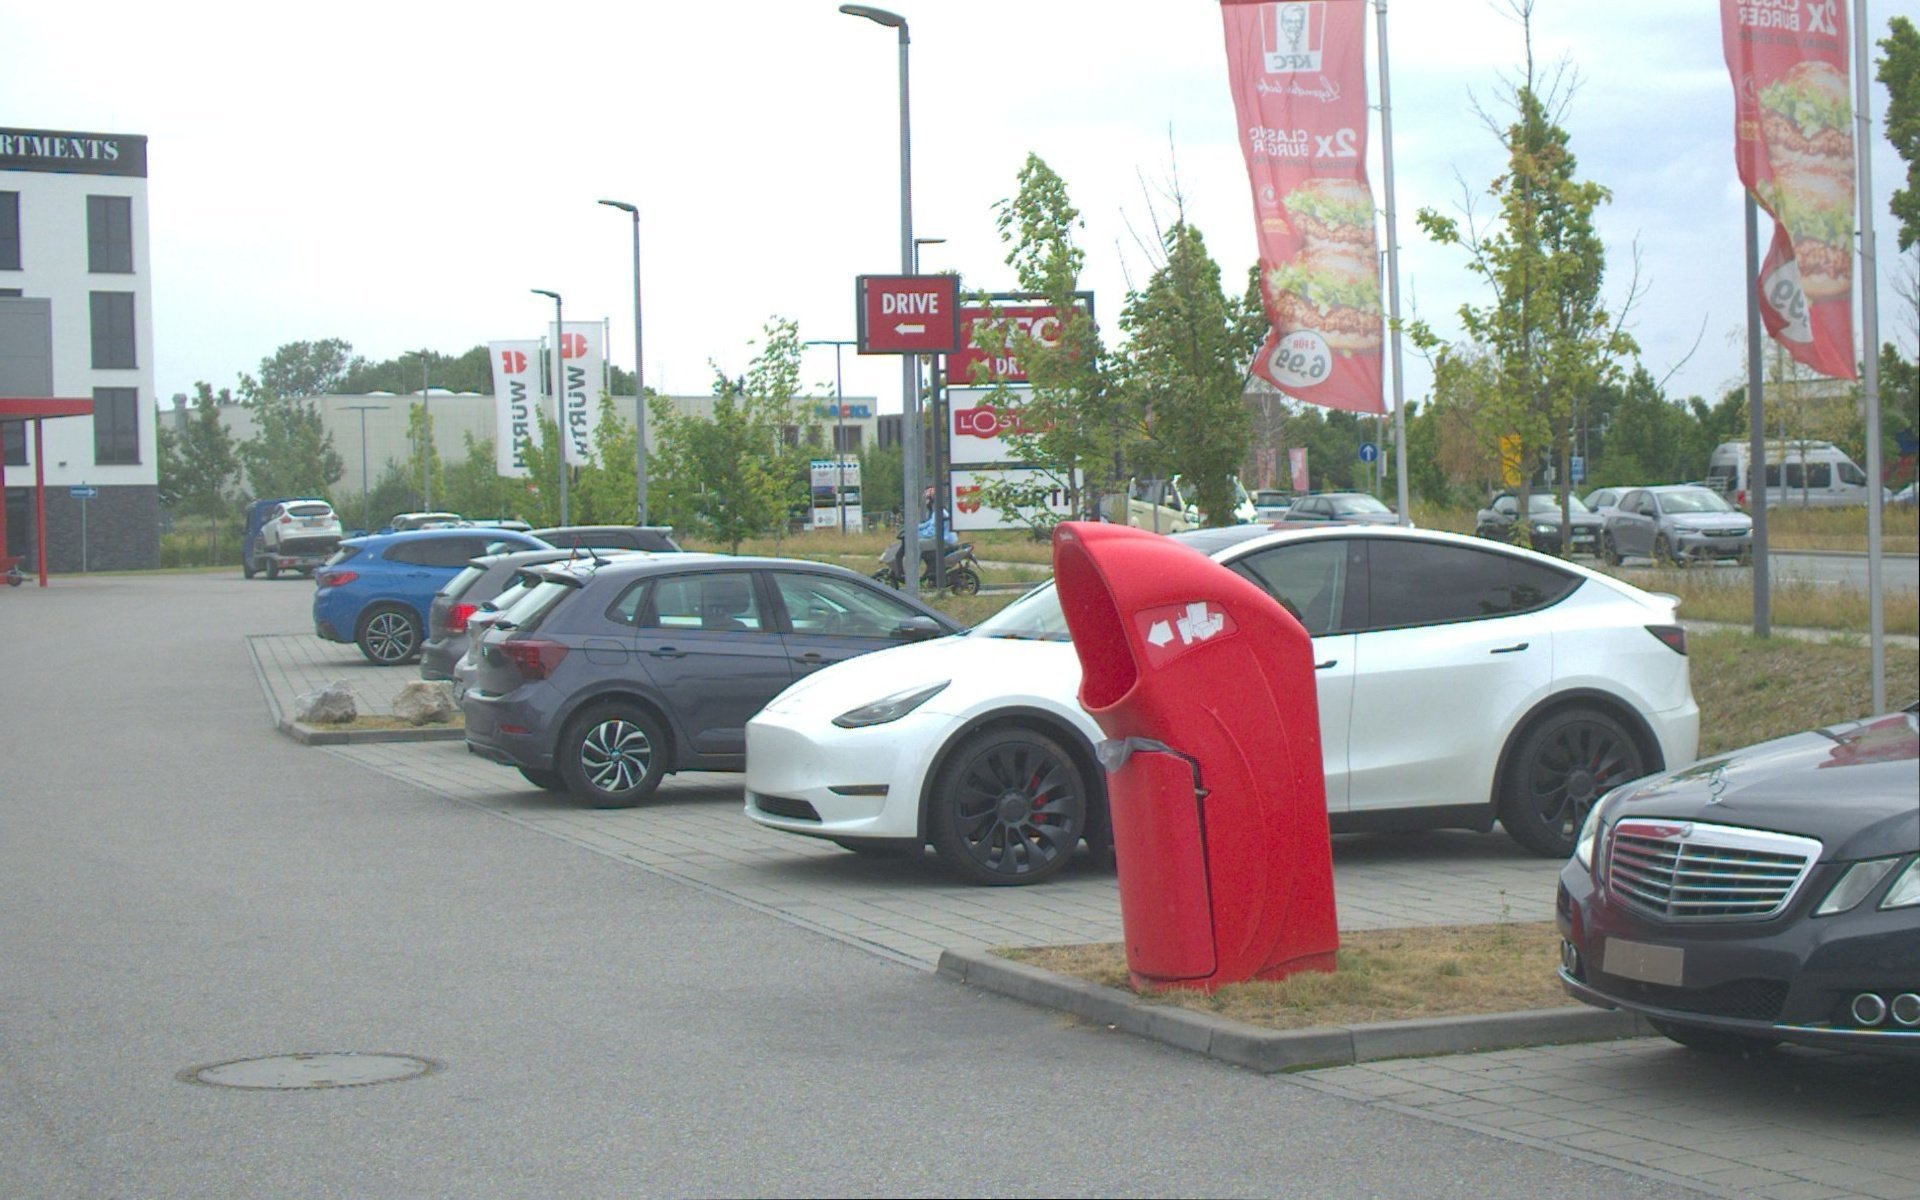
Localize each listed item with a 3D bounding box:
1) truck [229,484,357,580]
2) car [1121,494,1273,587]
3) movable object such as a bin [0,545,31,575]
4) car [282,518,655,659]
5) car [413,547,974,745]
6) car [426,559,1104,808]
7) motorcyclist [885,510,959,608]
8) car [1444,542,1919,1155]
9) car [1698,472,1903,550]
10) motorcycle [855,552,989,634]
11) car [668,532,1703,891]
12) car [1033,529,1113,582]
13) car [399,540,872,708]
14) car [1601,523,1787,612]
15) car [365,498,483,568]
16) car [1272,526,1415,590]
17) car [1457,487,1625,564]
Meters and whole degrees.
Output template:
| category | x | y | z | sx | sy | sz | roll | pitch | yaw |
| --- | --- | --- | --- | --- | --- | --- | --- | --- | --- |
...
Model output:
| category | x | y | z | sx | sy | sz | roll | pitch | yaw |
| --- | --- | --- | --- | --- | --- | --- | --- | --- | --- |
| truck | -19.122 | -1.888 | 98.248 | 2.331 | 2.398 | 7.898 | 0 | -1 | -20 |
| car | 5.561 | -1.442 | 81.340 | 1.993 | 2.079 | 5.232 | -2 | 2 | -14 |
| movable object such as a bin | -22.938 | -0.952 | 81.584 | 1.488 | 0.701 | 0.965 | -1 | 1 | -35 |
| car | -5.756 | -0.162 | 40.075 | 4.201 | 1.539 | 1.865 | -1 | 1 | -11 |
| car | -2.046 | 0.332 | 26.009 | 3.925 | 1.407 | 1.840 | 1 | 1 | -16 |
| car | -1.214 | 0.482 | 20.991 | 3.794 | 1.407 | 1.739 | 0 | 1 | -18 |
| motorcyclist | -0.596 | -0.644 | 53.371 | 0.938 | 1.483 | 0.831 | -2 | 1 | -15 |
| car | 3.901 | 0.600 | 10.075 | 4.726 | 1.451 | 1.912 | 0 | 0 | -29 |
| car | 25.788 | -2.736 | 105.564 | 5.577 | 2.114 | 2.341 | -3 | 2 | -11 |
| motorcycle | -0.594 | -0.118 | 53.385 | 1.915 | 1.204 | 0.795 | -2 | 1 | -15 |
| car | 1.066 | 0.476 | 16.435 | 4.530 | 1.536 | 1.926 | 0 | 1 | -21 |
| car | 2.980 | -1.185 | 91.237 | 1.461 | 1.332 | 3.164 | -1 | 2 | -10 |
| car | -2.920 | 0.195 | 30.626 | 3.986 | 1.423 | 1.728 | 0 | 1 | -13 |
| car | 13.149 | -0.605 | 61.824 | 1.824 | 1.454 | 4.001 | -3 | 2 | -11 |
| car | -12.949 | -1.590 | 82.870 | 1.856 | 1.644 | 4.001 | 0 | 0 | -24 |
| car | 8.810 | -0.992 | 79.381 | 1.762 | 1.390 | 4.220 | -1 | 2 | -16 |
| car | 11.736 | -1.516 | 69.760 | 1.850 | 1.494 | 4.286 | -1 | 2 | -13 |
